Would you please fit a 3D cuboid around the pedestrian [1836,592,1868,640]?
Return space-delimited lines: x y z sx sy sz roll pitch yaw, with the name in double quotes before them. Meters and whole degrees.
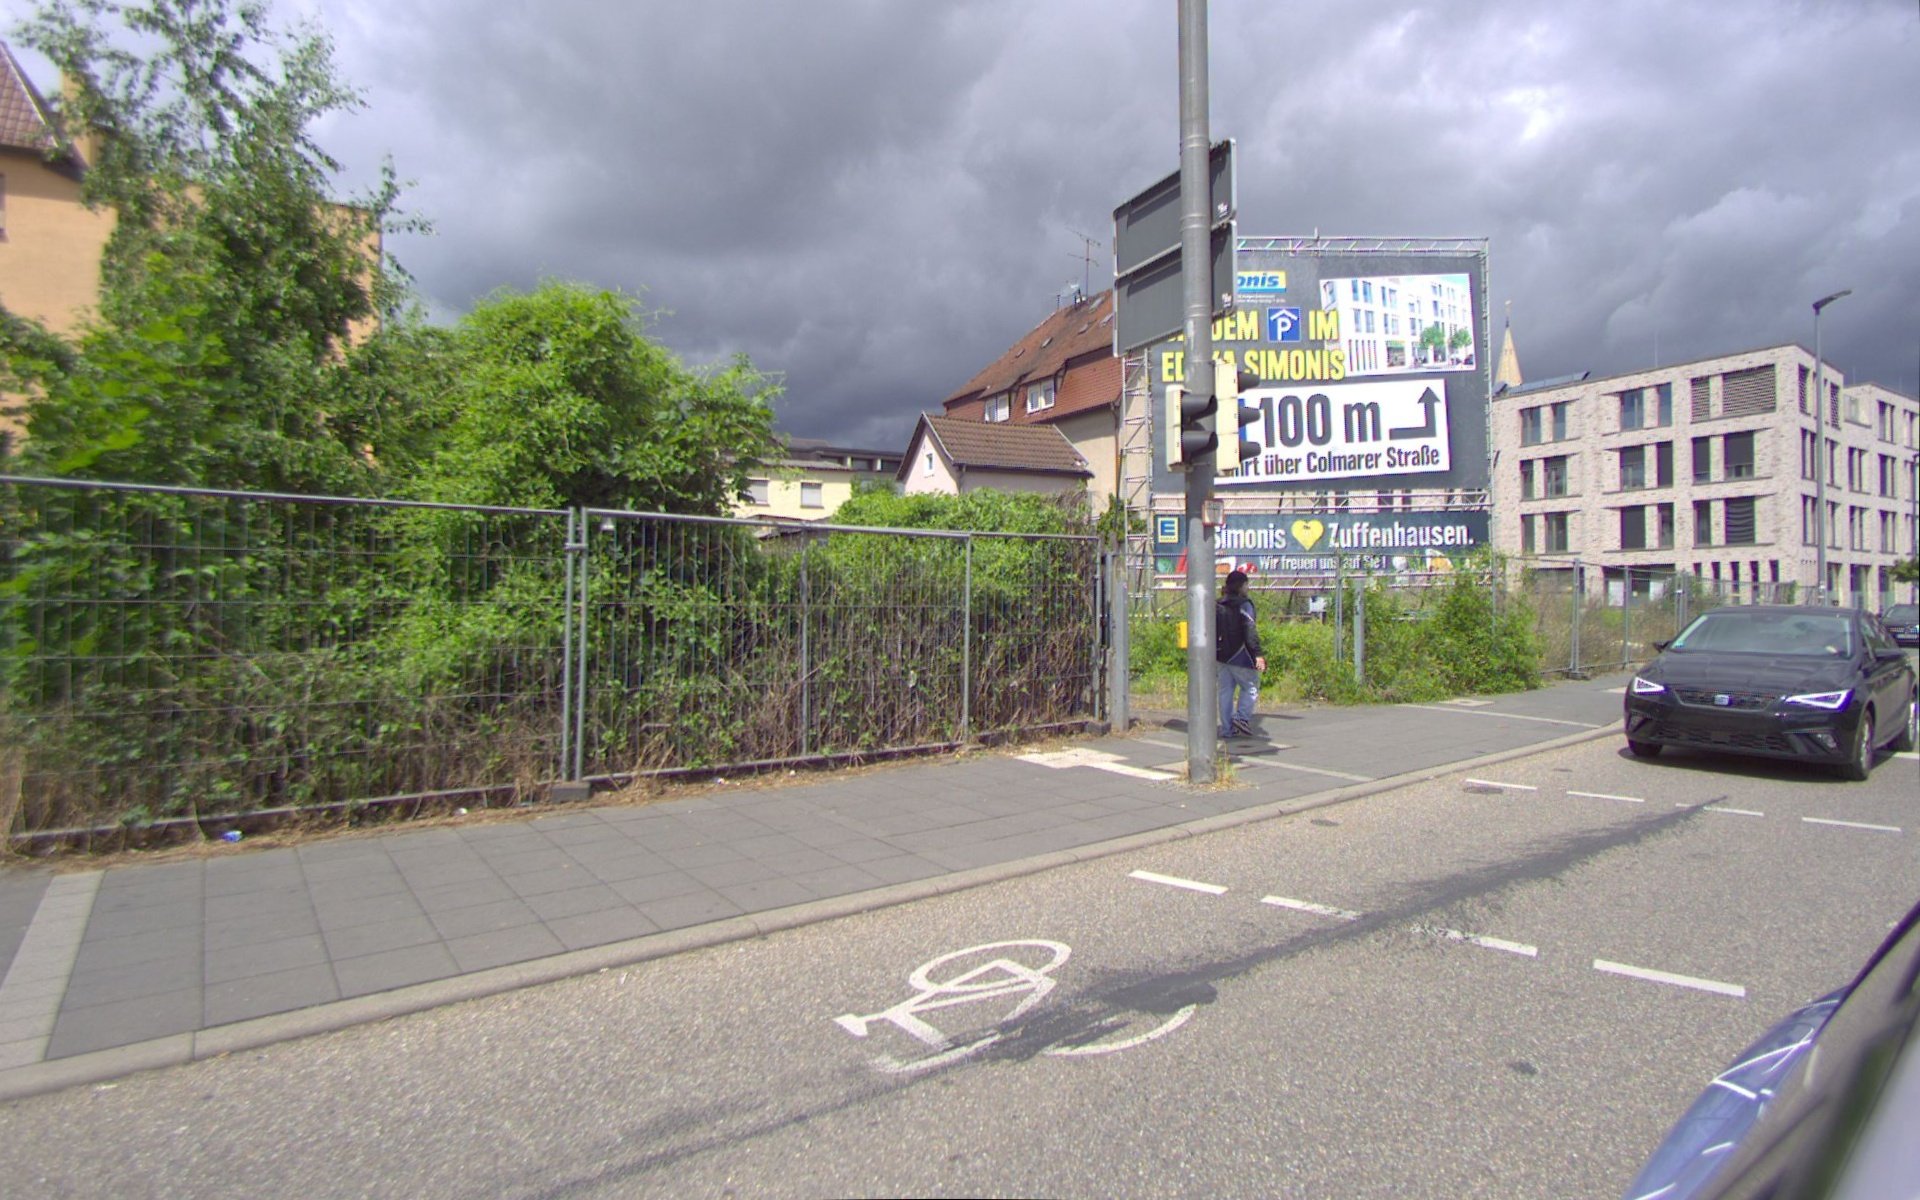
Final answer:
"pedestrian" 28.692 0.509 32.560 0.769 1.531 0.673 1 0 -41

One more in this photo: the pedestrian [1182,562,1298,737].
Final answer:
"pedestrian" 2.807 0.470 10.161 0.762 1.663 0.768 2 0 -29

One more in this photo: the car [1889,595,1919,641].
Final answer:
"car" 32.734 0.579 34.016 3.726 1.441 1.678 -1 2 -39

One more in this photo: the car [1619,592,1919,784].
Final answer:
"car" 7.991 0.676 9.746 3.726 1.451 1.678 -1 1 -39
